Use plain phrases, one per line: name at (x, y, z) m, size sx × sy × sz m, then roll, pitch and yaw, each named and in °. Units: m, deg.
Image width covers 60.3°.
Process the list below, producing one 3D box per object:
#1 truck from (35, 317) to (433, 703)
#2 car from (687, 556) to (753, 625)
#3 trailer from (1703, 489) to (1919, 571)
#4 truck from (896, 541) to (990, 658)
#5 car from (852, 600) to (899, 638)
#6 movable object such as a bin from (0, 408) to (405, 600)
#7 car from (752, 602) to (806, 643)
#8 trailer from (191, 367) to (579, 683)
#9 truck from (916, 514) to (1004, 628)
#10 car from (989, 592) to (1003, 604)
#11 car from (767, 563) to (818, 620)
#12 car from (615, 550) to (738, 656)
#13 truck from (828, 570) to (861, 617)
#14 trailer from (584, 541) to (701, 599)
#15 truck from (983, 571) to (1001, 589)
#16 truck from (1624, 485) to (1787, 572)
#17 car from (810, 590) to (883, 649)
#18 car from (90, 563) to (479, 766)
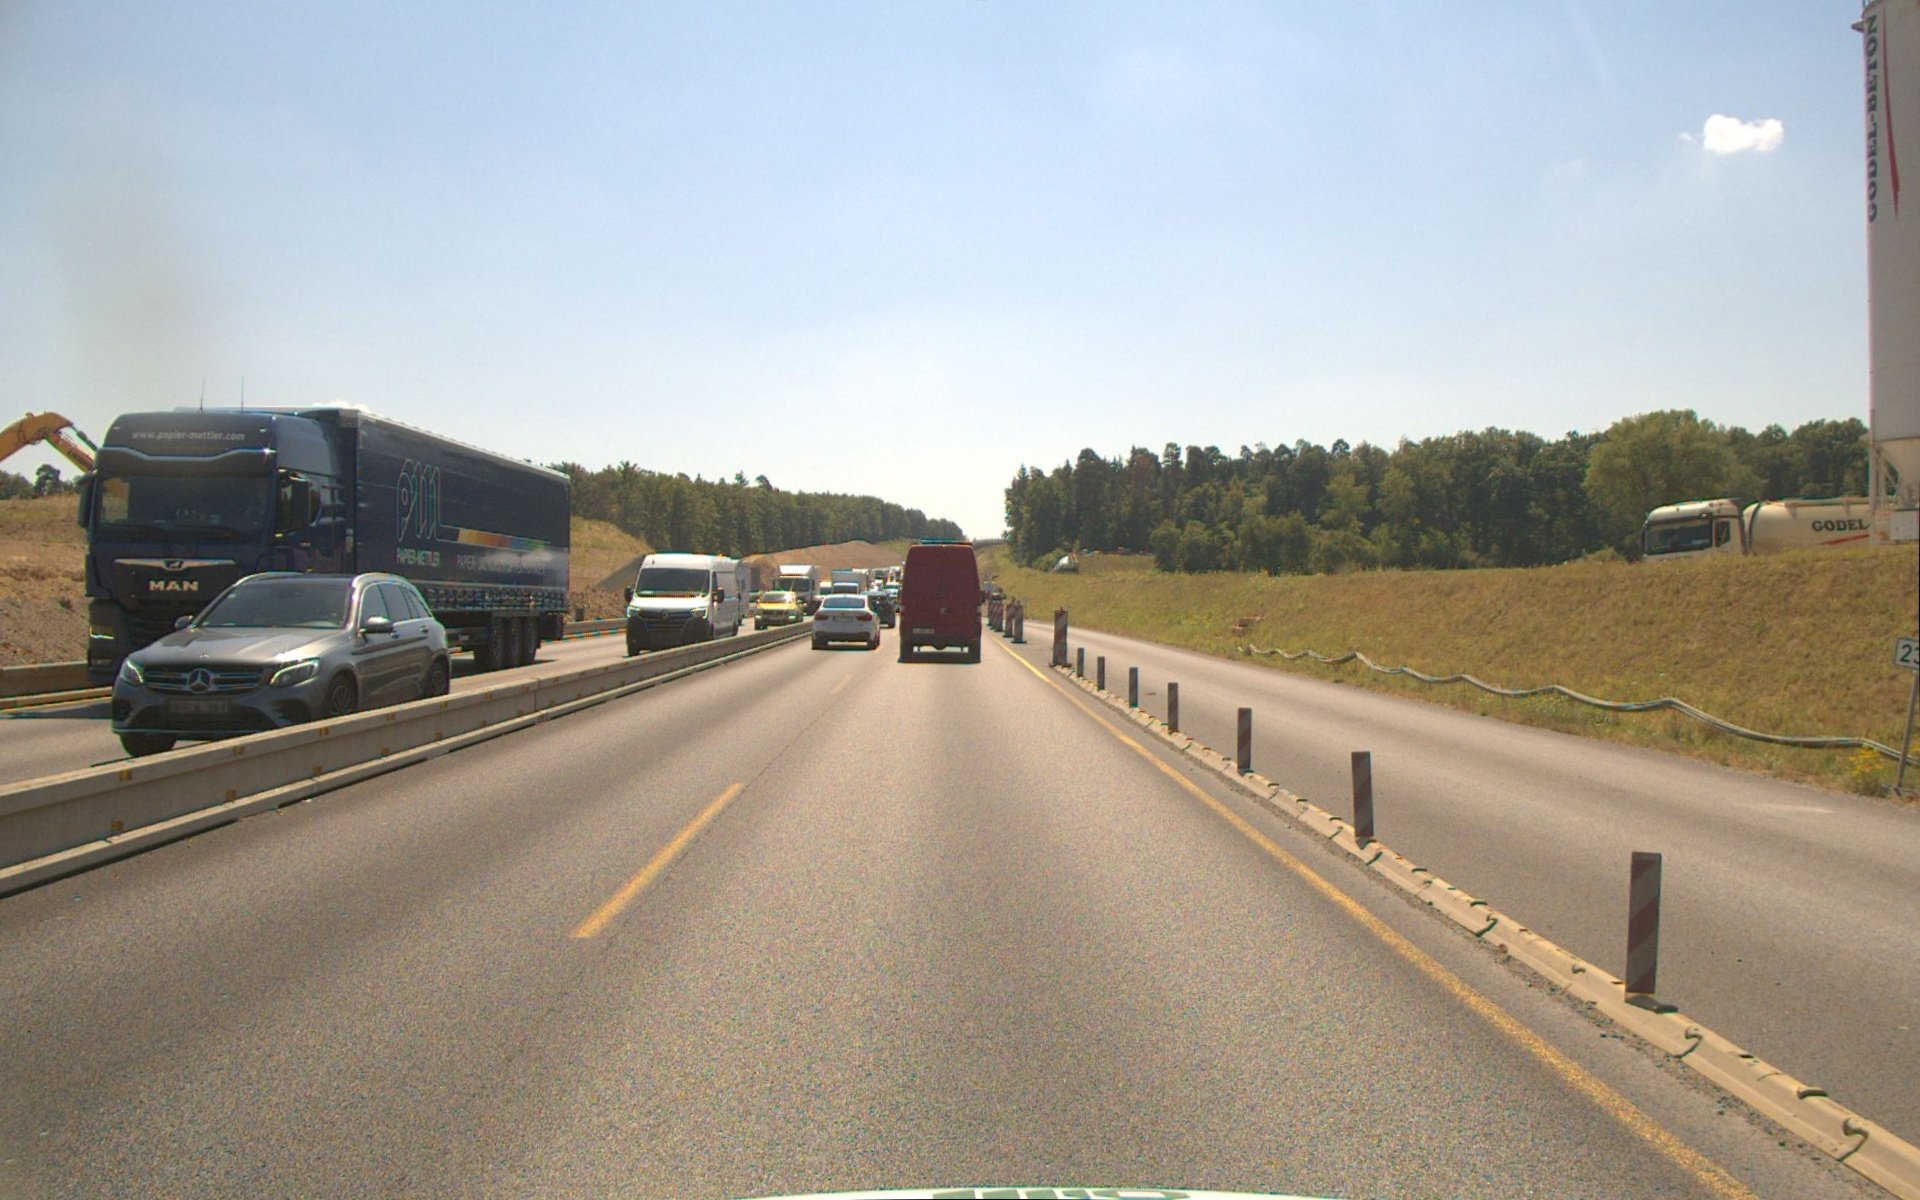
truck at (-10.005, -1.102, 23.665) m, size 2.905 × 4.733 × 6.242 m, roll 1°, pitch 0°, yaw -1°
car at (-10.925, -0.406, 75.717) m, size 2.206 × 3.007 × 5.847 m, roll 1°, pitch 0°, yaw -1°
trailer at (30.273, -2.359, 56.669) m, size 8.720 × 2.652 × 2.462 m, roll 0°, pitch 0°, yaw -5°
truck at (-0.417, -0.007, 40.415) m, size 2.109 × 2.635 × 5.332 m, roll 1°, pitch 0°, yaw -1°
car at (-3.748, 0.812, 73.819) m, size 1.927 × 1.568 × 4.310 m, roll 1°, pitch 1°, yaw -1°
movable object such as a bin at (-30.847, -3.603, 63.346) m, size 17.851 × 6.891 × 3.387 m, roll 1°, pitch -1°, yaw -1°
car at (-7.458, 0.920, 68.617) m, size 1.726 × 1.601 × 4.362 m, roll 1°, pitch 0°, yaw 0°
trailer at (-10.107, -1.096, 31.251) m, size 2.925 × 4.676 × 12.881 m, roll 1°, pitch 0°, yaw -1°
truck at (-0.104, -1.414, 90.809) m, size 4.311 × 5.592 × 16.599 m, roll 1°, pitch 0°, yaw -1°
car at (4.863, -0.268, 223.554) m, size 1.620 × 1.451 × 4.545 m, roll -2°, pitch 1°, yaw 0°
car at (-11.682, -0.630, 116.187) m, size 2.849 × 3.805 × 8.089 m, roll 1°, pitch 0°, yaw -1°
car at (-6.843, 0.024, 40.624) m, size 1.994 × 2.384 × 6.195 m, roll 1°, pitch 1°, yaw -1°
truck at (-8.204, -0.449, 117.687) m, size 2.226 × 3.205 × 7.308 m, roll 1°, pitch 0°, yaw -3°
trailer at (-23.811, -2.250, 124.049) m, size 8.167 × 4.170 × 2.801 m, roll 1°, pitch 0°, yaw 18°
truck at (4.719, -2.938, 241.565) m, size 2.084 × 2.499 × 5.930 m, roll 1°, pitch 1°, yaw 6°
truck at (24.913, -2.326, 55.206) m, size 5.253 × 2.589 × 2.866 m, roll 1°, pitch 0°, yaw -38°
car at (-3.158, 0.534, 46.605) m, size 1.794 × 1.548 × 3.960 m, roll 1°, pitch 0°, yaw -1°
car at (-6.334, 0.542, 16.220) m, size 1.830 × 1.658 × 4.884 m, roll 1°, pitch 0°, yaw -1°
